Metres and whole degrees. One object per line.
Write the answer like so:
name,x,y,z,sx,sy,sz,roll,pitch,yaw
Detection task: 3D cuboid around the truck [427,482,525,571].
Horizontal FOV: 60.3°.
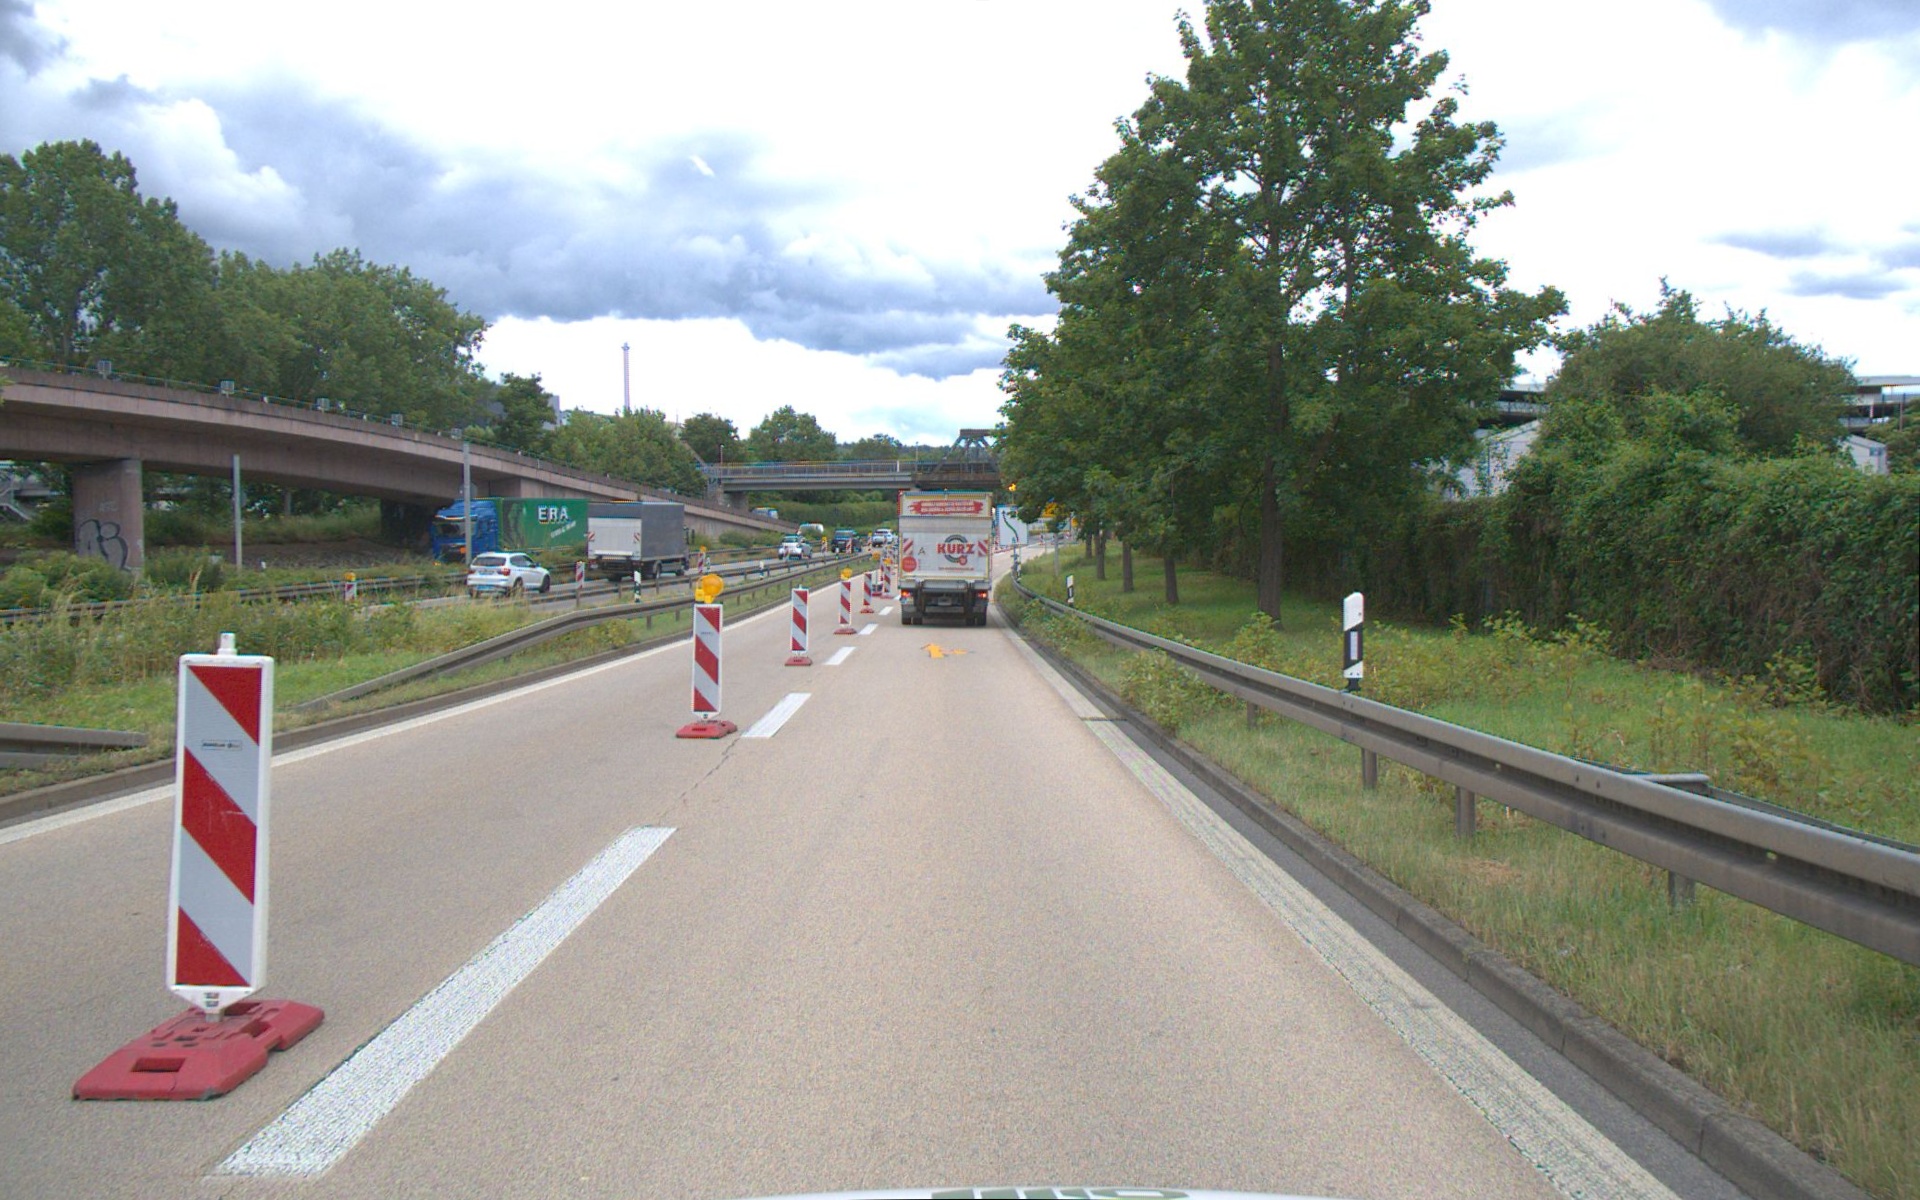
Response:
truck,-24.491,-3.720,83.958,2.694,4.346,5.508,0,2,8

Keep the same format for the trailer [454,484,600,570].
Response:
trailer,-23.569,-4.006,91.155,2.712,4.368,13.993,0,2,7

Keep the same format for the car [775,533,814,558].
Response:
car,-11.069,-3.640,110.997,1.951,1.646,4.003,0,2,4

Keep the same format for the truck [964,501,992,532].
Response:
truck,2.359,-10.637,212.180,3.217,3.919,7.670,0,2,4

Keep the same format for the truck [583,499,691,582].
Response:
truck,-14.958,-2.787,77.204,2.986,3.719,7.401,0,2,5

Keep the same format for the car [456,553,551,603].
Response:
car,-17.182,-0.858,62.395,1.951,1.742,4.105,0,2,8

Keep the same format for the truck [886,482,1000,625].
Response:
truck,-0.474,-1.289,47.177,2.988,3.737,7.927,0,1,-1

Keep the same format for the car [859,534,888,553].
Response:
car,-7.471,-4.900,142.989,1.951,1.646,4.003,0,2,4

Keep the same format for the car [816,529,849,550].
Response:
car,-9.775,-4.649,126.832,1.951,1.646,4.003,0,2,4
